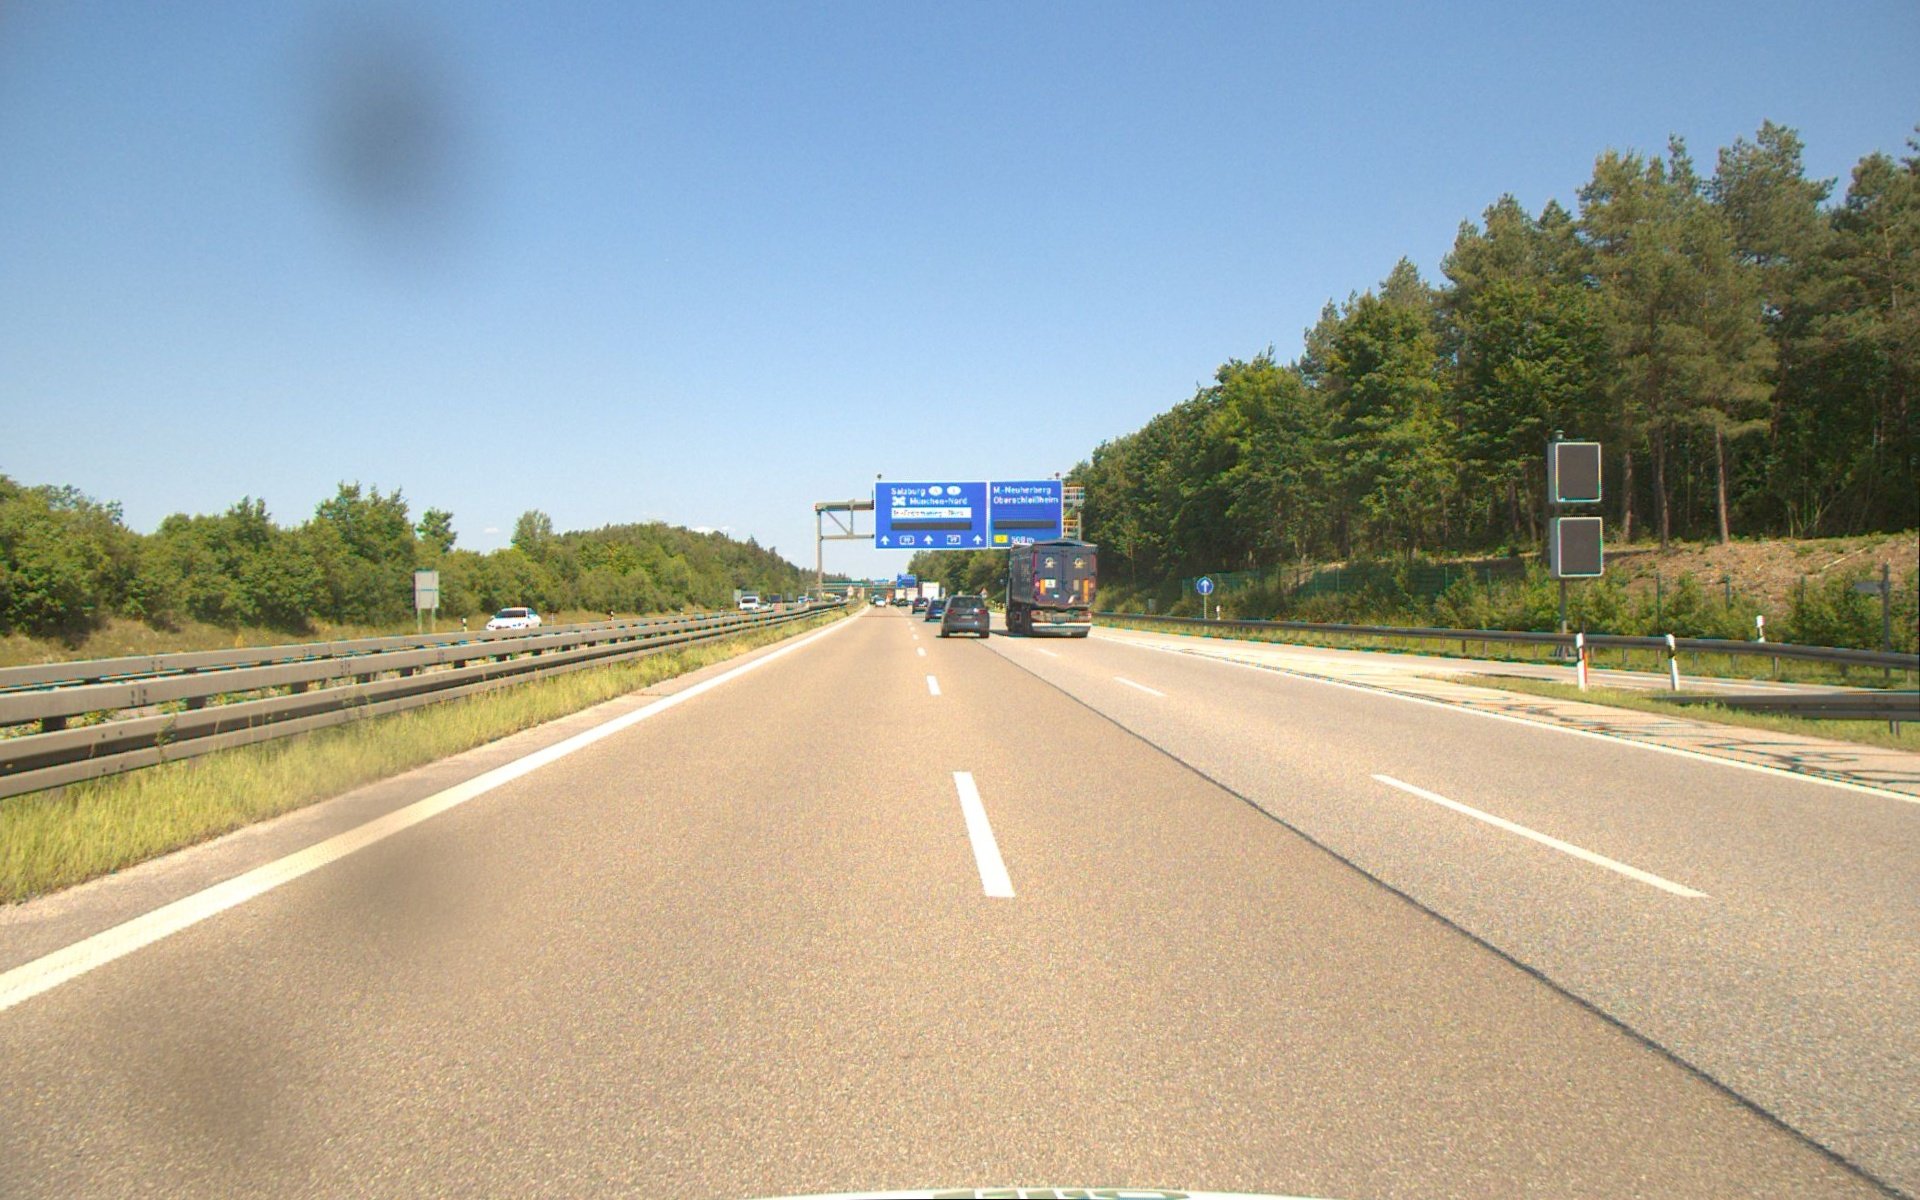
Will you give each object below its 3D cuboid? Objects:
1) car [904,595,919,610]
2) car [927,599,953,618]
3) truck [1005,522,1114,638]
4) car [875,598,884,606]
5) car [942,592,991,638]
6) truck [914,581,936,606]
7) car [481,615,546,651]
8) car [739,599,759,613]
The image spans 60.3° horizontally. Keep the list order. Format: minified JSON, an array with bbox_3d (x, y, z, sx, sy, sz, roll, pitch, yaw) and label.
[{"bbox_3d":[-4.869,0.283,165.727,1.441,1.422,3.410,2,0,-1],"label":"car"},{"bbox_3d":[-1.326,0.560,108.953,1.674,1.176,3.689,0,0,-1],"label":"car"},{"bbox_3d":[4.046,-0.796,71.377,3.703,4.499,14.048,0,0,-1],"label":"truck"},{"bbox_3d":[-12.755,0.311,262.242,1.441,1.249,3.410,0,0,-1],"label":"car"},{"bbox_3d":[0.299,0.556,64.836,1.762,1.698,4.259,1,0,2],"label":"car"},{"bbox_3d":[-5.575,-0.950,263.149,3.366,3.861,13.348,0,0,-1],"label":"truck"},{"bbox_3d":[-21.060,1.532,78.109,1.953,1.621,4.299,0,0,-1],"label":"car"},{"bbox_3d":[-20.864,0.585,163.719,1.571,1.322,3.790,0,0,-1],"label":"car"}]
